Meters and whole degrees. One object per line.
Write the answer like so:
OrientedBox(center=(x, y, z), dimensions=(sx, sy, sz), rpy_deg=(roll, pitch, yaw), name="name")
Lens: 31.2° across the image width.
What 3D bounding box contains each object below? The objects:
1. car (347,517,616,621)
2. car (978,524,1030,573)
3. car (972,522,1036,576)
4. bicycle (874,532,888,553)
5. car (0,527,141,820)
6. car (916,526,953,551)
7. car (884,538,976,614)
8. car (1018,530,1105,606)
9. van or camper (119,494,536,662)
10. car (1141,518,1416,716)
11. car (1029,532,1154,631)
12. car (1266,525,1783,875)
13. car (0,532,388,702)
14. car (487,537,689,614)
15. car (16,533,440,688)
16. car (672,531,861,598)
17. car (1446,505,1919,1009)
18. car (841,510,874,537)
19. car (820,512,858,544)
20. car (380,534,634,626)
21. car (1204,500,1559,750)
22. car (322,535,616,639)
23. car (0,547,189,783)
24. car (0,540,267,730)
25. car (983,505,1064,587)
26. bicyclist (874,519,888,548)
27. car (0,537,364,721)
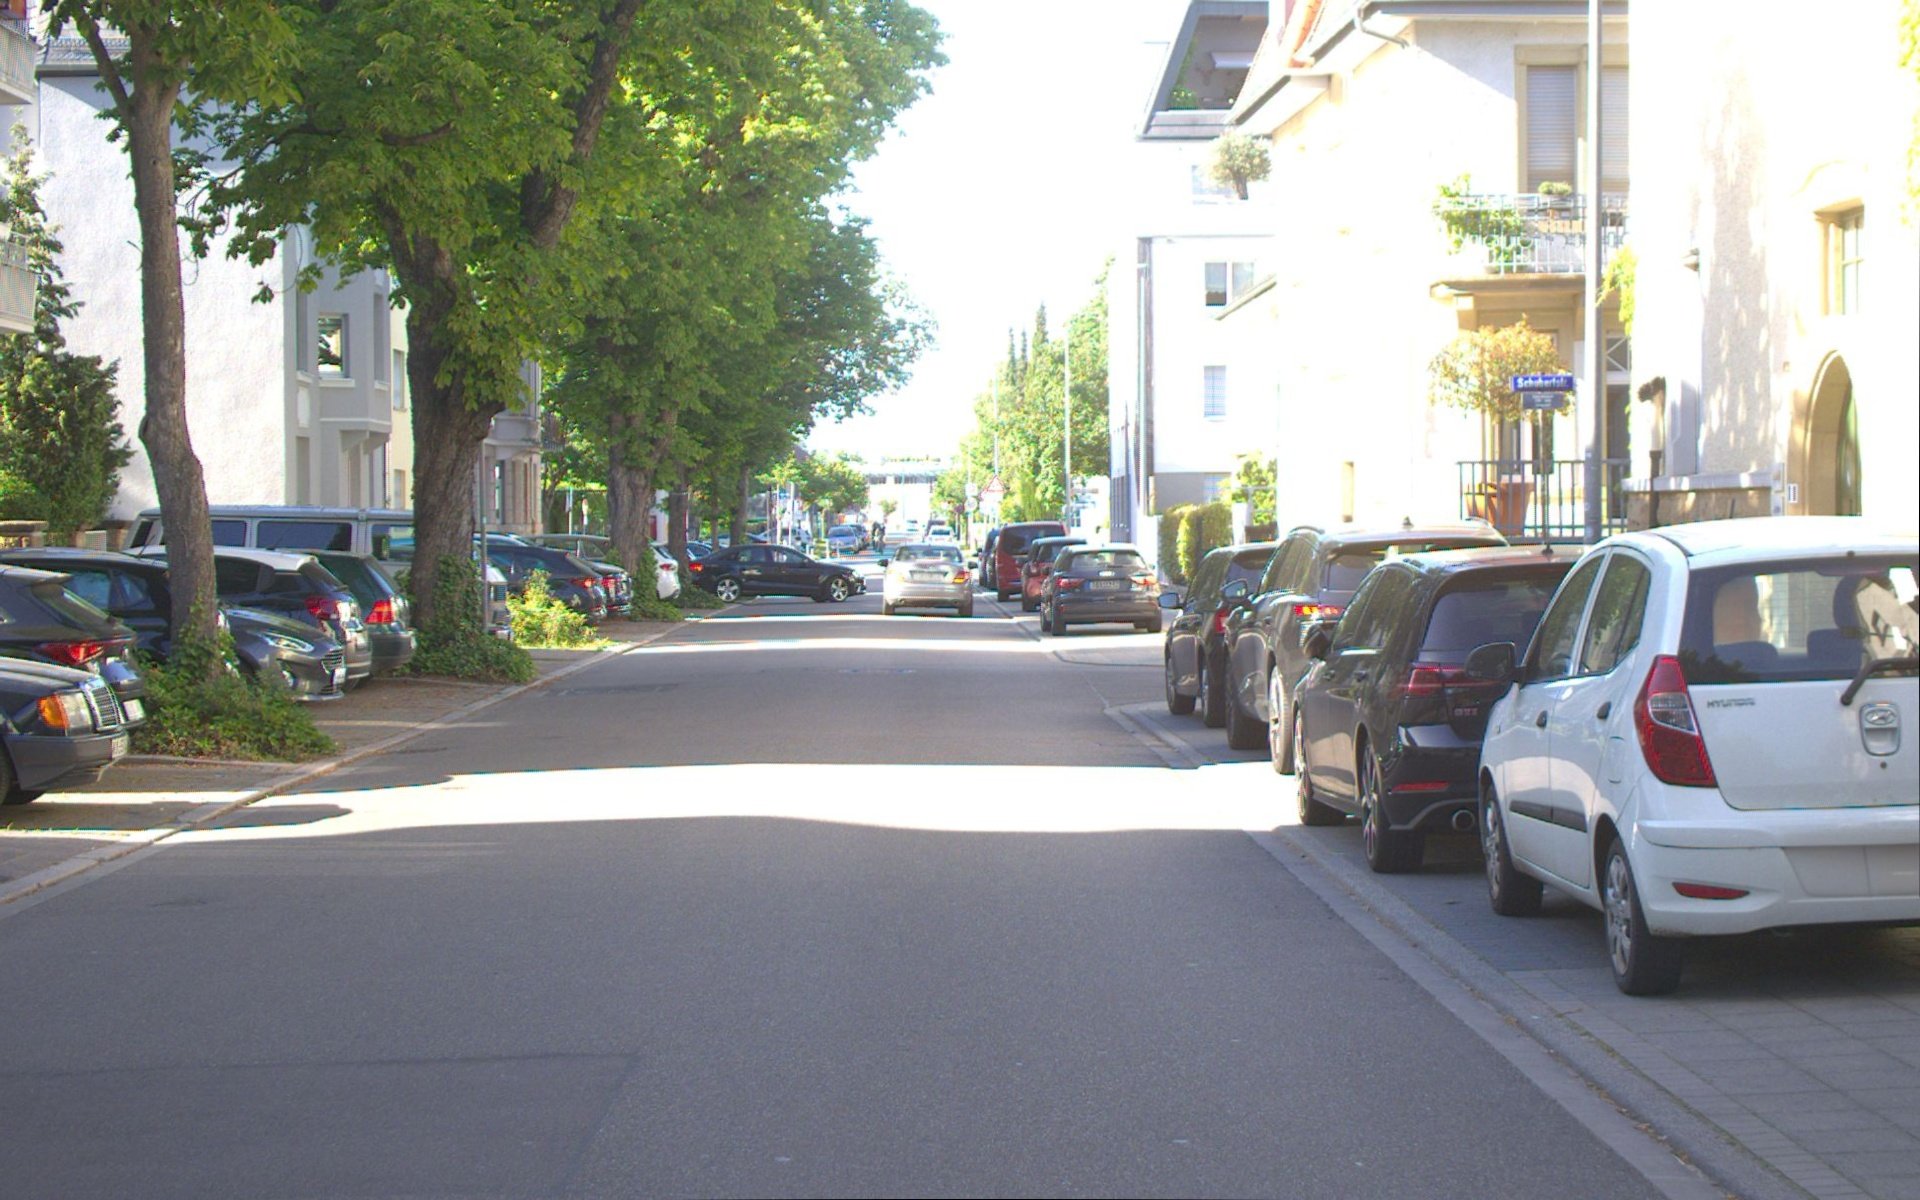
OrientedBox(center=(-8.335, -0.554, 60.149), dimensions=(4.386, 1.646, 1.823), rpy_deg=(-1, 3, 1), name="car")
OrientedBox(center=(1.421, -1.652, 111.059), dimensions=(1.564, 1.406, 3.729), rpy_deg=(-4, 0, 1), name="car")
OrientedBox(center=(1.280, -1.514, 100.717), dimensions=(1.737, 1.526, 4.179), rpy_deg=(-1, 1, -1), name="car")
OrientedBox(center=(-4.335, -3.146, 187.866), dimensions=(0.719, 1.075, 1.891), rpy_deg=(-1, 1, 0), name="bicycle")
OrientedBox(center=(-7.098, 0.438, 19.560), dimensions=(4.588, 1.601, 1.833), rpy_deg=(-1, 1, -9), name="car")
OrientedBox(center=(-1.446, -3.498, 195.402), dimensions=(1.722, 1.325, 4.001), rpy_deg=(-1, 1, -5), name="car")
OrientedBox(center=(-0.568, -0.492, 68.040), dimensions=(1.726, 1.415, 3.960), rpy_deg=(-1, 1, 0), name="car")
OrientedBox(center=(2.090, -0.687, 71.316), dimensions=(1.592, 1.475, 3.247), rpy_deg=(-2, 1, -1), name="car")
OrientedBox(center=(-7.293, -0.267, 39.988), dimensions=(4.497, 1.908, 1.964), rpy_deg=(0, 1, -1), name="van or camper")
OrientedBox(center=(2.615, 0.124, 29.031), dimensions=(1.662, 1.515, 4.002), rpy_deg=(-2, 0, -4), name="car")
OrientedBox(center=(2.061, -0.325, 54.903), dimensions=(1.619, 1.435, 3.935), rpy_deg=(-3, 2, -2), name="car")
OrientedBox(center=(2.605, 0.418, 16.810), dimensions=(1.709, 1.431, 4.193), rpy_deg=(-2, 0, -1), name="car")
OrientedBox(center=(-7.241, 0.137, 32.045), dimensions=(3.478, 1.453, 1.797), rpy_deg=(1, 1, 0), name="car")
OrientedBox(center=(-7.782, -0.527, 72.191), dimensions=(4.022, 1.479, 1.807), rpy_deg=(2, 1, -1), name="car")
OrientedBox(center=(-7.312, 0.090, 34.598), dimensions=(3.921, 1.410, 1.716), rpy_deg=(1, 2, -3), name="car")
OrientedBox(center=(-4.637, -0.845, 82.234), dimensions=(4.187, 1.443, 1.713), rpy_deg=(2, 0, -16), name="car")
OrientedBox(center=(2.843, 0.470, 12.428), dimensions=(1.575, 1.544, 3.469), rpy_deg=(-2, 0, -1), name="car")
OrientedBox(center=(-6.448, -4.810, 216.288), dimensions=(1.787, 1.527, 4.000), rpy_deg=(6, 2, 0), name="car")
OrientedBox(center=(-6.798, -4.059, 193.013), dimensions=(1.872, 1.722, 4.001), rpy_deg=(-1, 2, -5), name="car")
OrientedBox(center=(-7.475, -0.339, 56.949), dimensions=(3.987, 1.463, 1.697), rpy_deg=(0, 1, -1), name="car")
OrientedBox(center=(2.787, 0.143, 23.653), dimensions=(1.791, 1.515, 4.367), rpy_deg=(-1, 0, -1), name="car")
OrientedBox(center=(-7.354, -0.212, 51.809), dimensions=(4.186, 1.493, 1.861), rpy_deg=(0, 1, -2), name="car")
OrientedBox(center=(-7.267, 0.353, 22.197), dimensions=(4.187, 1.436, 1.713), rpy_deg=(1, 1, -2), name="car")
OrientedBox(center=(-7.332, 0.242, 27.122), dimensions=(3.477, 1.416, 1.710), rpy_deg=(1, 0, -6), name="car")
OrientedBox(center=(1.516, -1.311, 84.021), dimensions=(1.871, 1.898, 5.197), rpy_deg=(-1, 1, 0), name="car")
OrientedBox(center=(-4.295, -3.642, 187.665), dimensions=(0.721, 1.531, 1.137), rpy_deg=(-1, 1, 0), name="bicyclist")
OrientedBox(center=(-7.116, 0.218, 29.538), dimensions=(3.644, 1.458, 1.710), rpy_deg=(1, 1, 1), name="car")
